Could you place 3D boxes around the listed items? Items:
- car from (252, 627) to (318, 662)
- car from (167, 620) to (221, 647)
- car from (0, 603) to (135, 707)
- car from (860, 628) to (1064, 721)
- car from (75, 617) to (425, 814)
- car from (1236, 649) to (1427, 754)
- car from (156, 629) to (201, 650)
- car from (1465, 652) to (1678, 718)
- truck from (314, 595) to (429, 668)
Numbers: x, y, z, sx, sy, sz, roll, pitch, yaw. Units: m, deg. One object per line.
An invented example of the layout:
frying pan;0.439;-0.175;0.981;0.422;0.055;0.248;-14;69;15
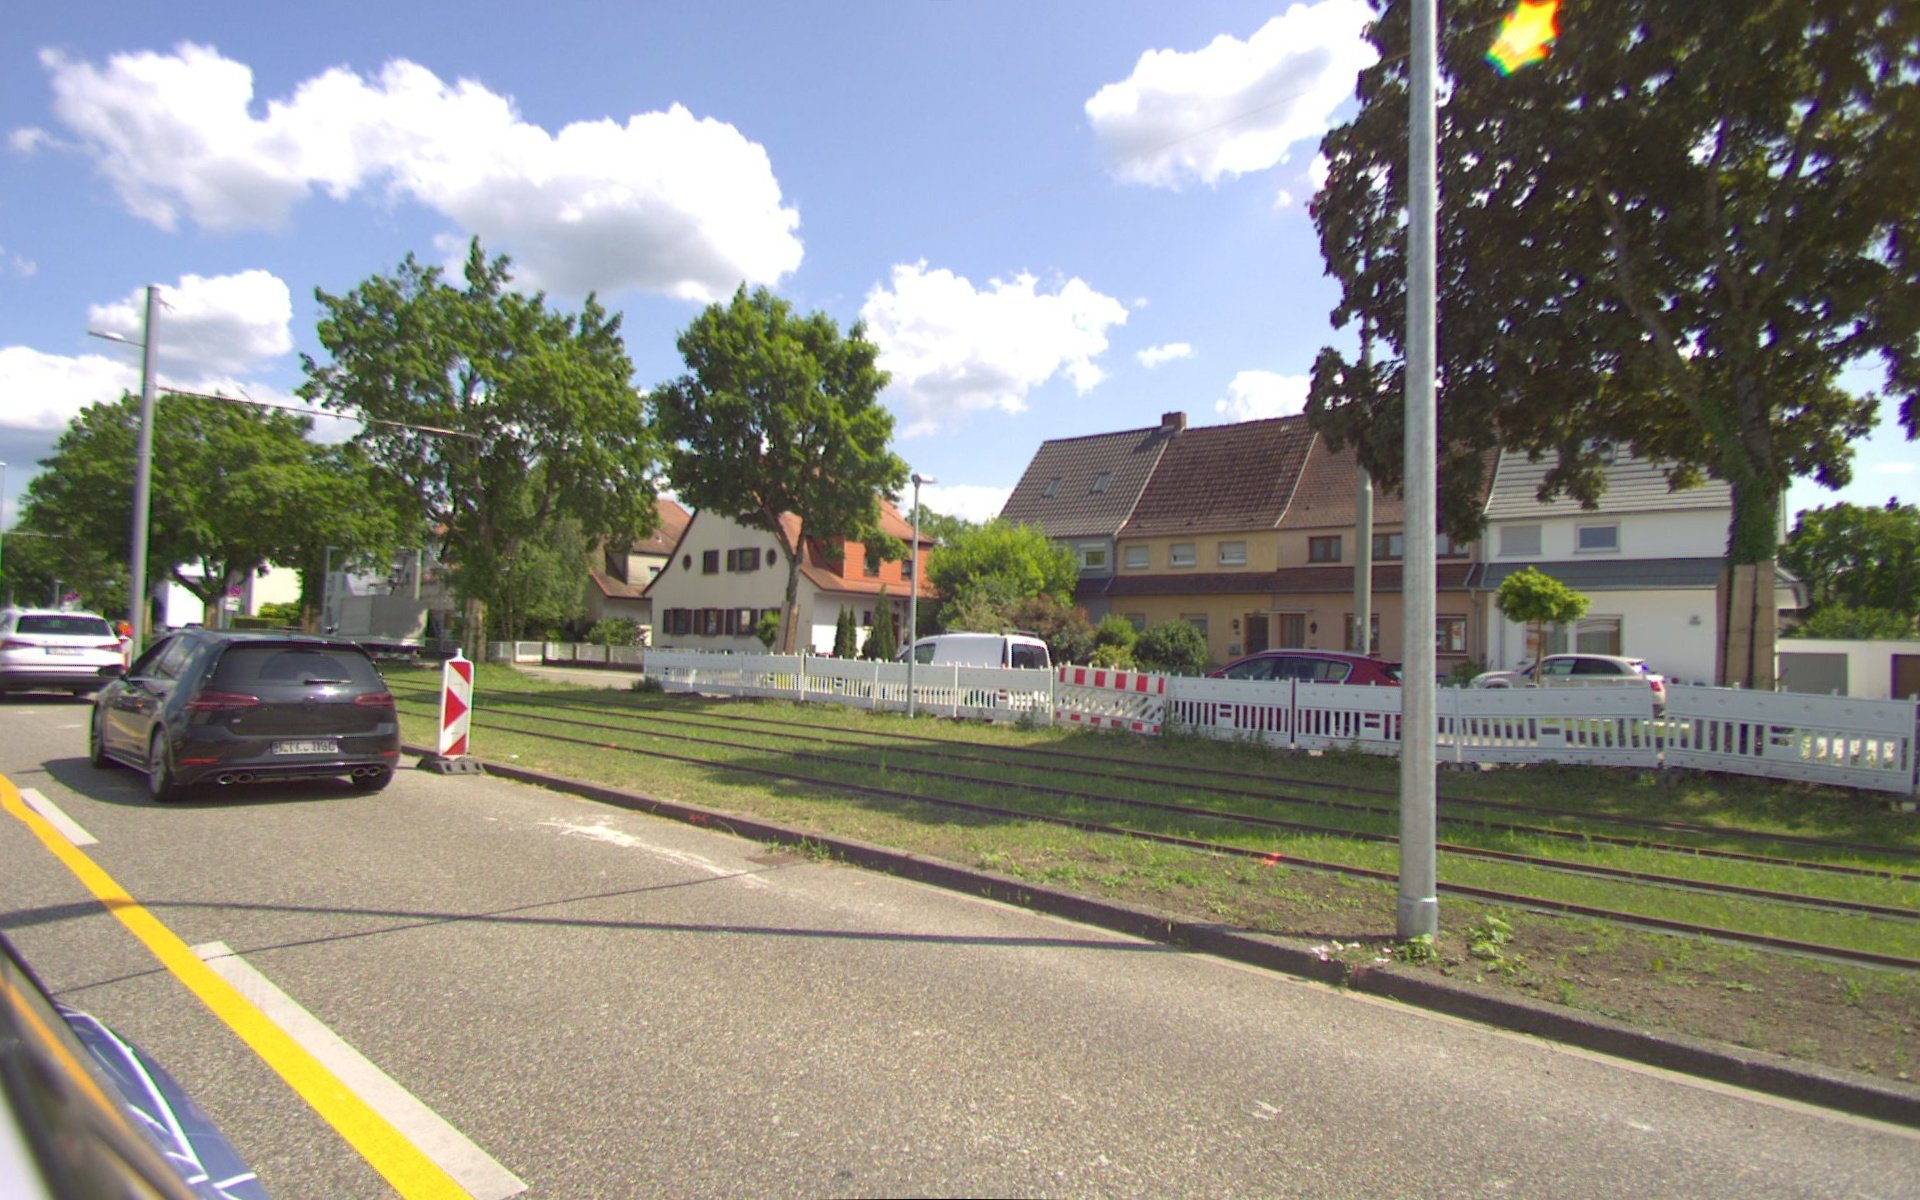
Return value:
car;-32.579;2.122;48.816;3.929;1.524;1.651;0;-1;41
car;-45.879;1.978;60.588;4.522;1.524;1.685;0;-1;41
car;-16.754;0.950;18.465;4.460;1.679;1.805;0;-4;41
car;-0.023;1.452;20.438;3.999;1.638;1.635;0;-4;41
car;-6.733;0.956;9.455;3.857;1.423;1.675;0;-5;41
car;5.526;1.473;15.170;2.450;1.358;1.060;0;-4;45
car;-50.149;2.500;64.903;3.785;1.251;1.603;0;-1;41
car;14.335;1.956;23.857;4.118;1.285;1.518;0;-4;41
truck;-24.524;1.250;42.096;5.949;2.826;2.340;0;-1;41
